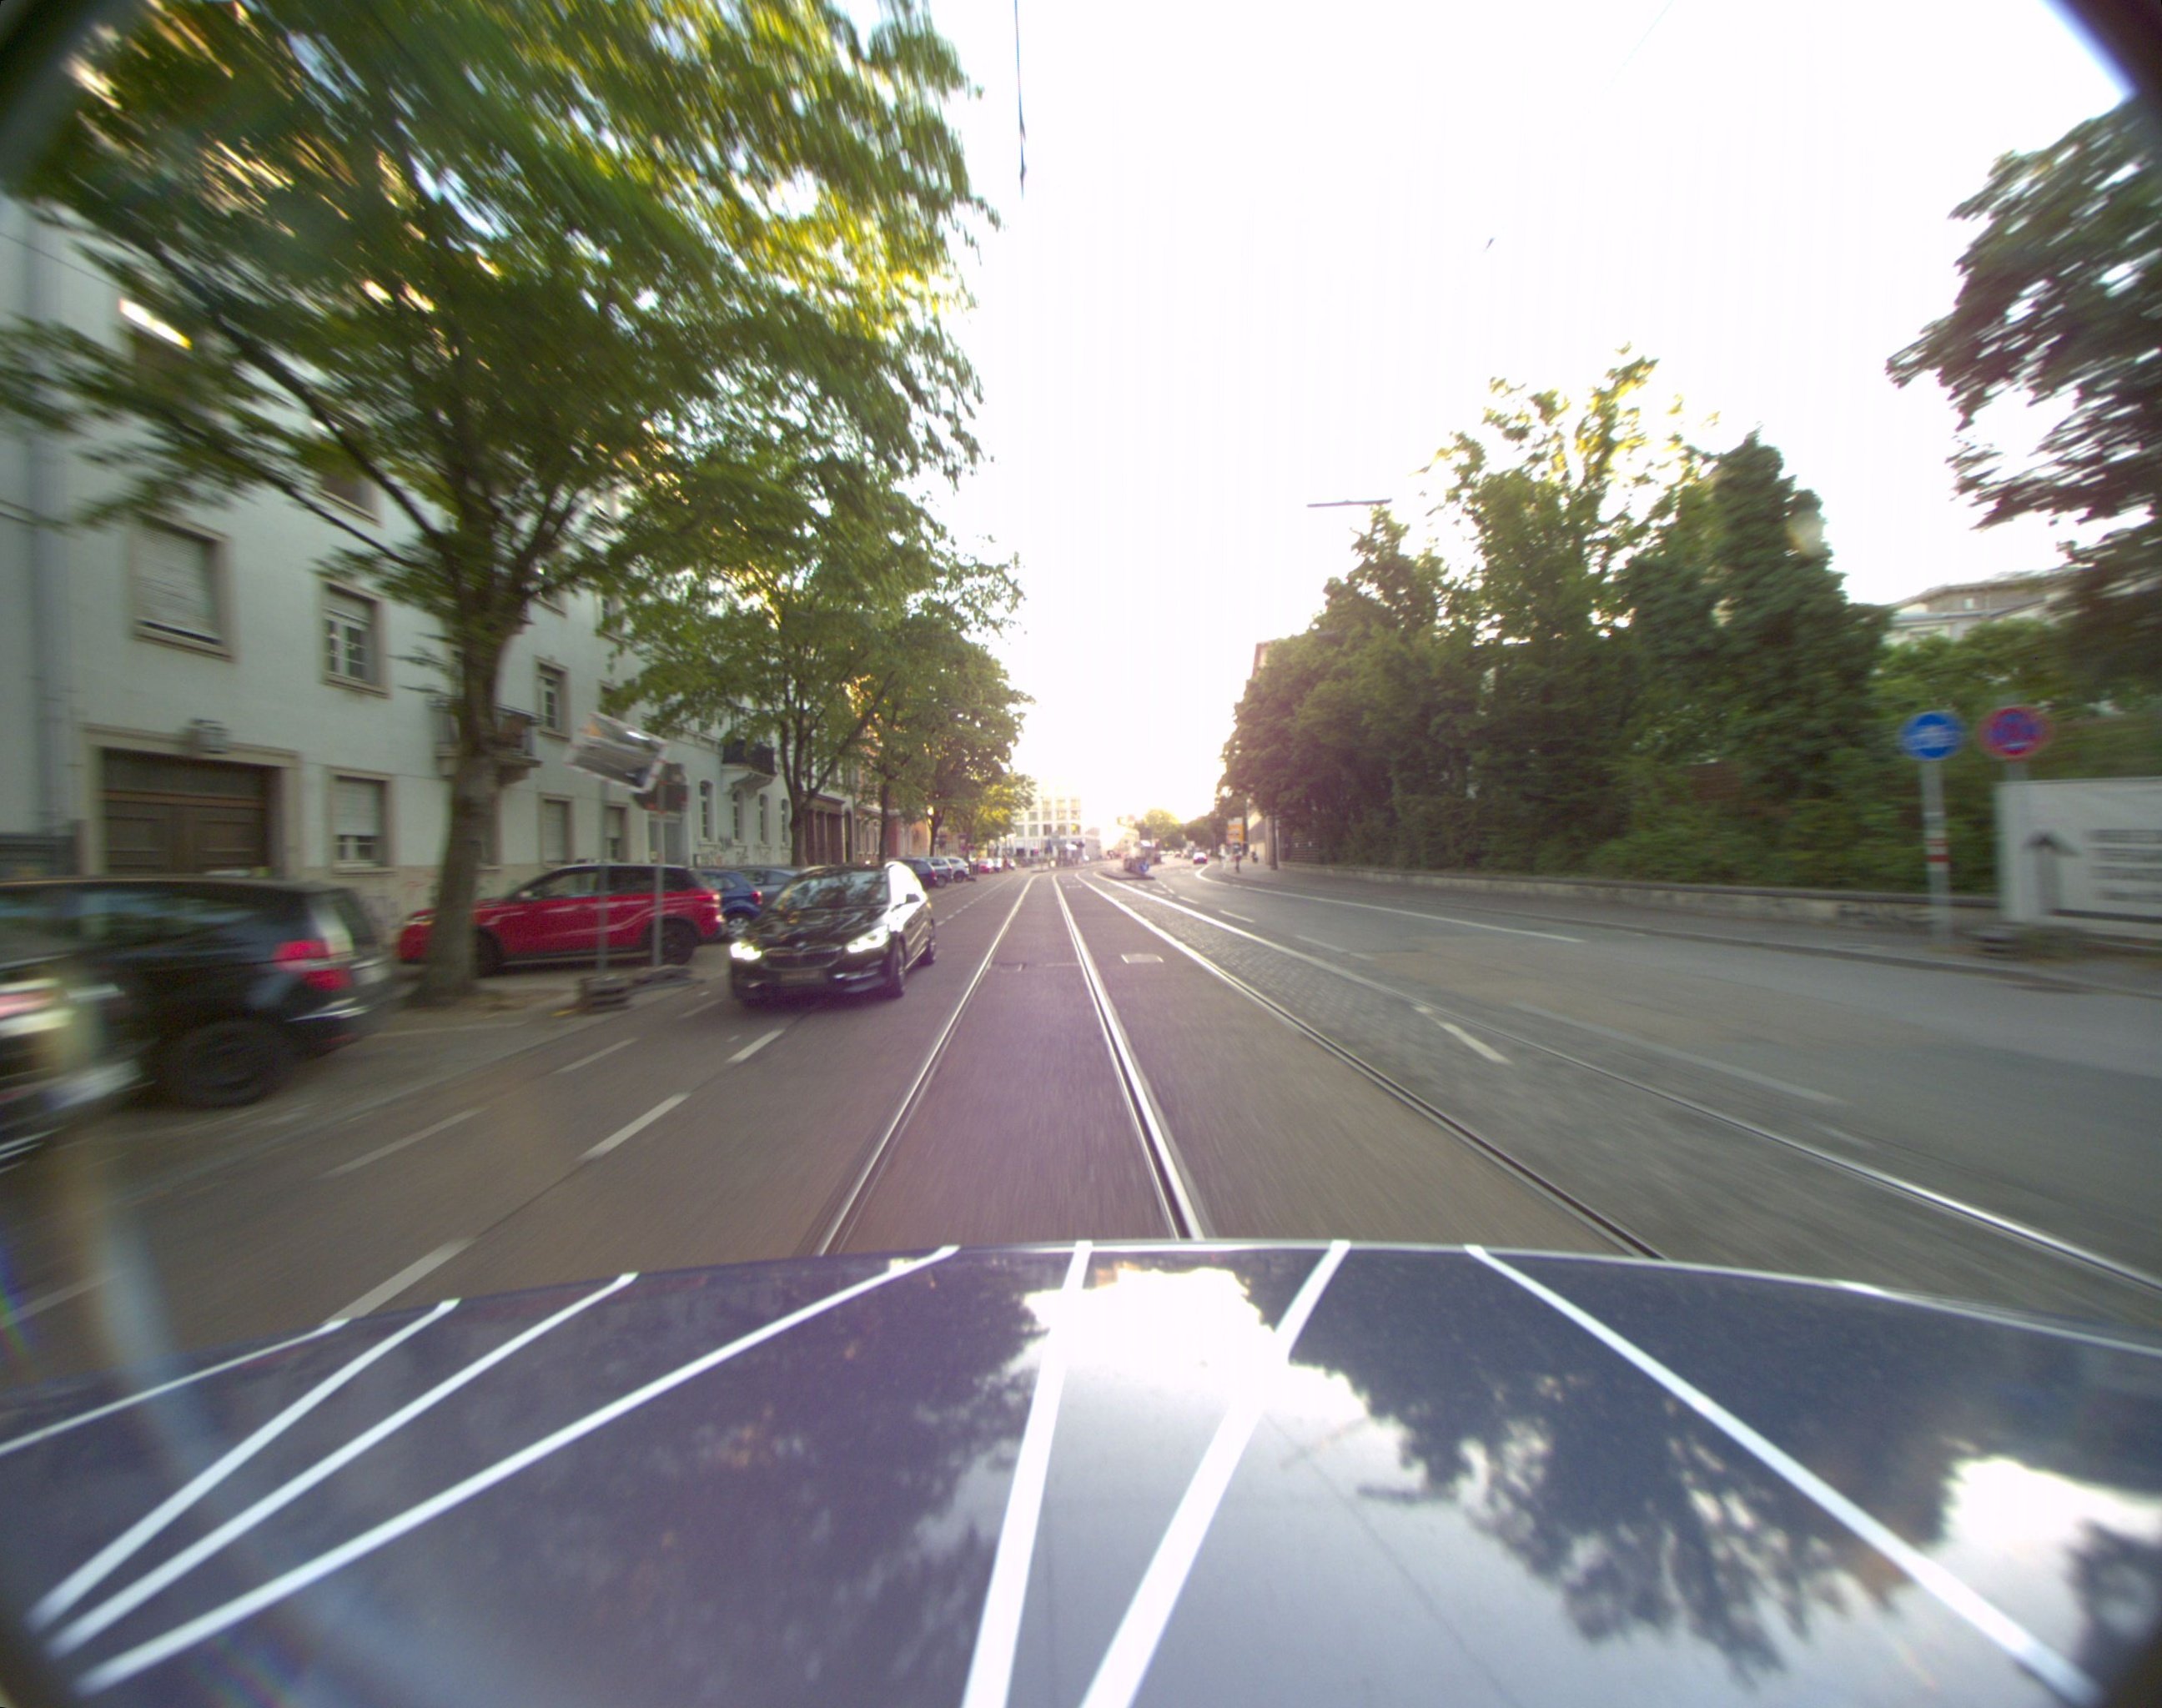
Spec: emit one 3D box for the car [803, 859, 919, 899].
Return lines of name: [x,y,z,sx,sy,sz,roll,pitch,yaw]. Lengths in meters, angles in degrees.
car: [-8.606,0.938,29.771,4.215,1.494,1.741,0,0,-19]

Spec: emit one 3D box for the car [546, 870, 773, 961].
car: [-7.970,1.082,14.500,3.581,1.402,1.517,-2,1,-37]

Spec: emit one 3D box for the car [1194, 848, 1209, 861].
car: [17.041,0.074,107.752,1.997,1.674,4.002,-1,0,7]

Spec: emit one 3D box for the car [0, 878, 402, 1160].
car: [-7.804,1.062,4.766,5.034,1.593,1.891,-2,0,-34]

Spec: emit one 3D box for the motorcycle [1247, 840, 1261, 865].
motorcycle: [17.797,-0.171,78.299,1.022,2.429,2.668,-2,1,6]

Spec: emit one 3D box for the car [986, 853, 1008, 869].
car: [-8.926,0.770,80.868,1.742,1.600,3.822,-2,0,2]

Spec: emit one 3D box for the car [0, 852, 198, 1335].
car: [-7.114,1.010,2.140,5.650,1.884,2.166,-2,0,-37]

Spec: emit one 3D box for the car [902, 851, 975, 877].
car: [-9.071,0.641,48.355,4.218,1.600,1.739,0,0,-31]

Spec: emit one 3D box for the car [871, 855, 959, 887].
car: [-8.799,0.853,40.280,4.218,1.600,1.739,0,0,-31]

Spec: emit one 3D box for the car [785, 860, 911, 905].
car: [-8.362,0.978,27.412,4.215,1.494,1.741,0,0,-19]

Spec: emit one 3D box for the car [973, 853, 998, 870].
car: [-9.391,0.706,75.120,1.742,1.600,3.822,-2,0,2]

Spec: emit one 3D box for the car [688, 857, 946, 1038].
car: [-3.000,0.936,9.677,1.840,1.631,4.167,-5,0,-2]

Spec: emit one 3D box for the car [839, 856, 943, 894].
car: [-8.513,0.895,34.164,4.218,1.600,1.699,0,0,-31]

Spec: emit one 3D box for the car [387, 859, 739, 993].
car: [-7.594,0.952,11.630,4.126,1.631,1.739,-2,0,-29]

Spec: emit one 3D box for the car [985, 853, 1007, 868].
car: [-10.234,0.761,92.158,1.954,1.600,4.272,-2,0,2]

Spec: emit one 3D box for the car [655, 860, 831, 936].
car: [-7.858,0.948,17.750,3.580,1.536,1.381,-2,1,-31]
